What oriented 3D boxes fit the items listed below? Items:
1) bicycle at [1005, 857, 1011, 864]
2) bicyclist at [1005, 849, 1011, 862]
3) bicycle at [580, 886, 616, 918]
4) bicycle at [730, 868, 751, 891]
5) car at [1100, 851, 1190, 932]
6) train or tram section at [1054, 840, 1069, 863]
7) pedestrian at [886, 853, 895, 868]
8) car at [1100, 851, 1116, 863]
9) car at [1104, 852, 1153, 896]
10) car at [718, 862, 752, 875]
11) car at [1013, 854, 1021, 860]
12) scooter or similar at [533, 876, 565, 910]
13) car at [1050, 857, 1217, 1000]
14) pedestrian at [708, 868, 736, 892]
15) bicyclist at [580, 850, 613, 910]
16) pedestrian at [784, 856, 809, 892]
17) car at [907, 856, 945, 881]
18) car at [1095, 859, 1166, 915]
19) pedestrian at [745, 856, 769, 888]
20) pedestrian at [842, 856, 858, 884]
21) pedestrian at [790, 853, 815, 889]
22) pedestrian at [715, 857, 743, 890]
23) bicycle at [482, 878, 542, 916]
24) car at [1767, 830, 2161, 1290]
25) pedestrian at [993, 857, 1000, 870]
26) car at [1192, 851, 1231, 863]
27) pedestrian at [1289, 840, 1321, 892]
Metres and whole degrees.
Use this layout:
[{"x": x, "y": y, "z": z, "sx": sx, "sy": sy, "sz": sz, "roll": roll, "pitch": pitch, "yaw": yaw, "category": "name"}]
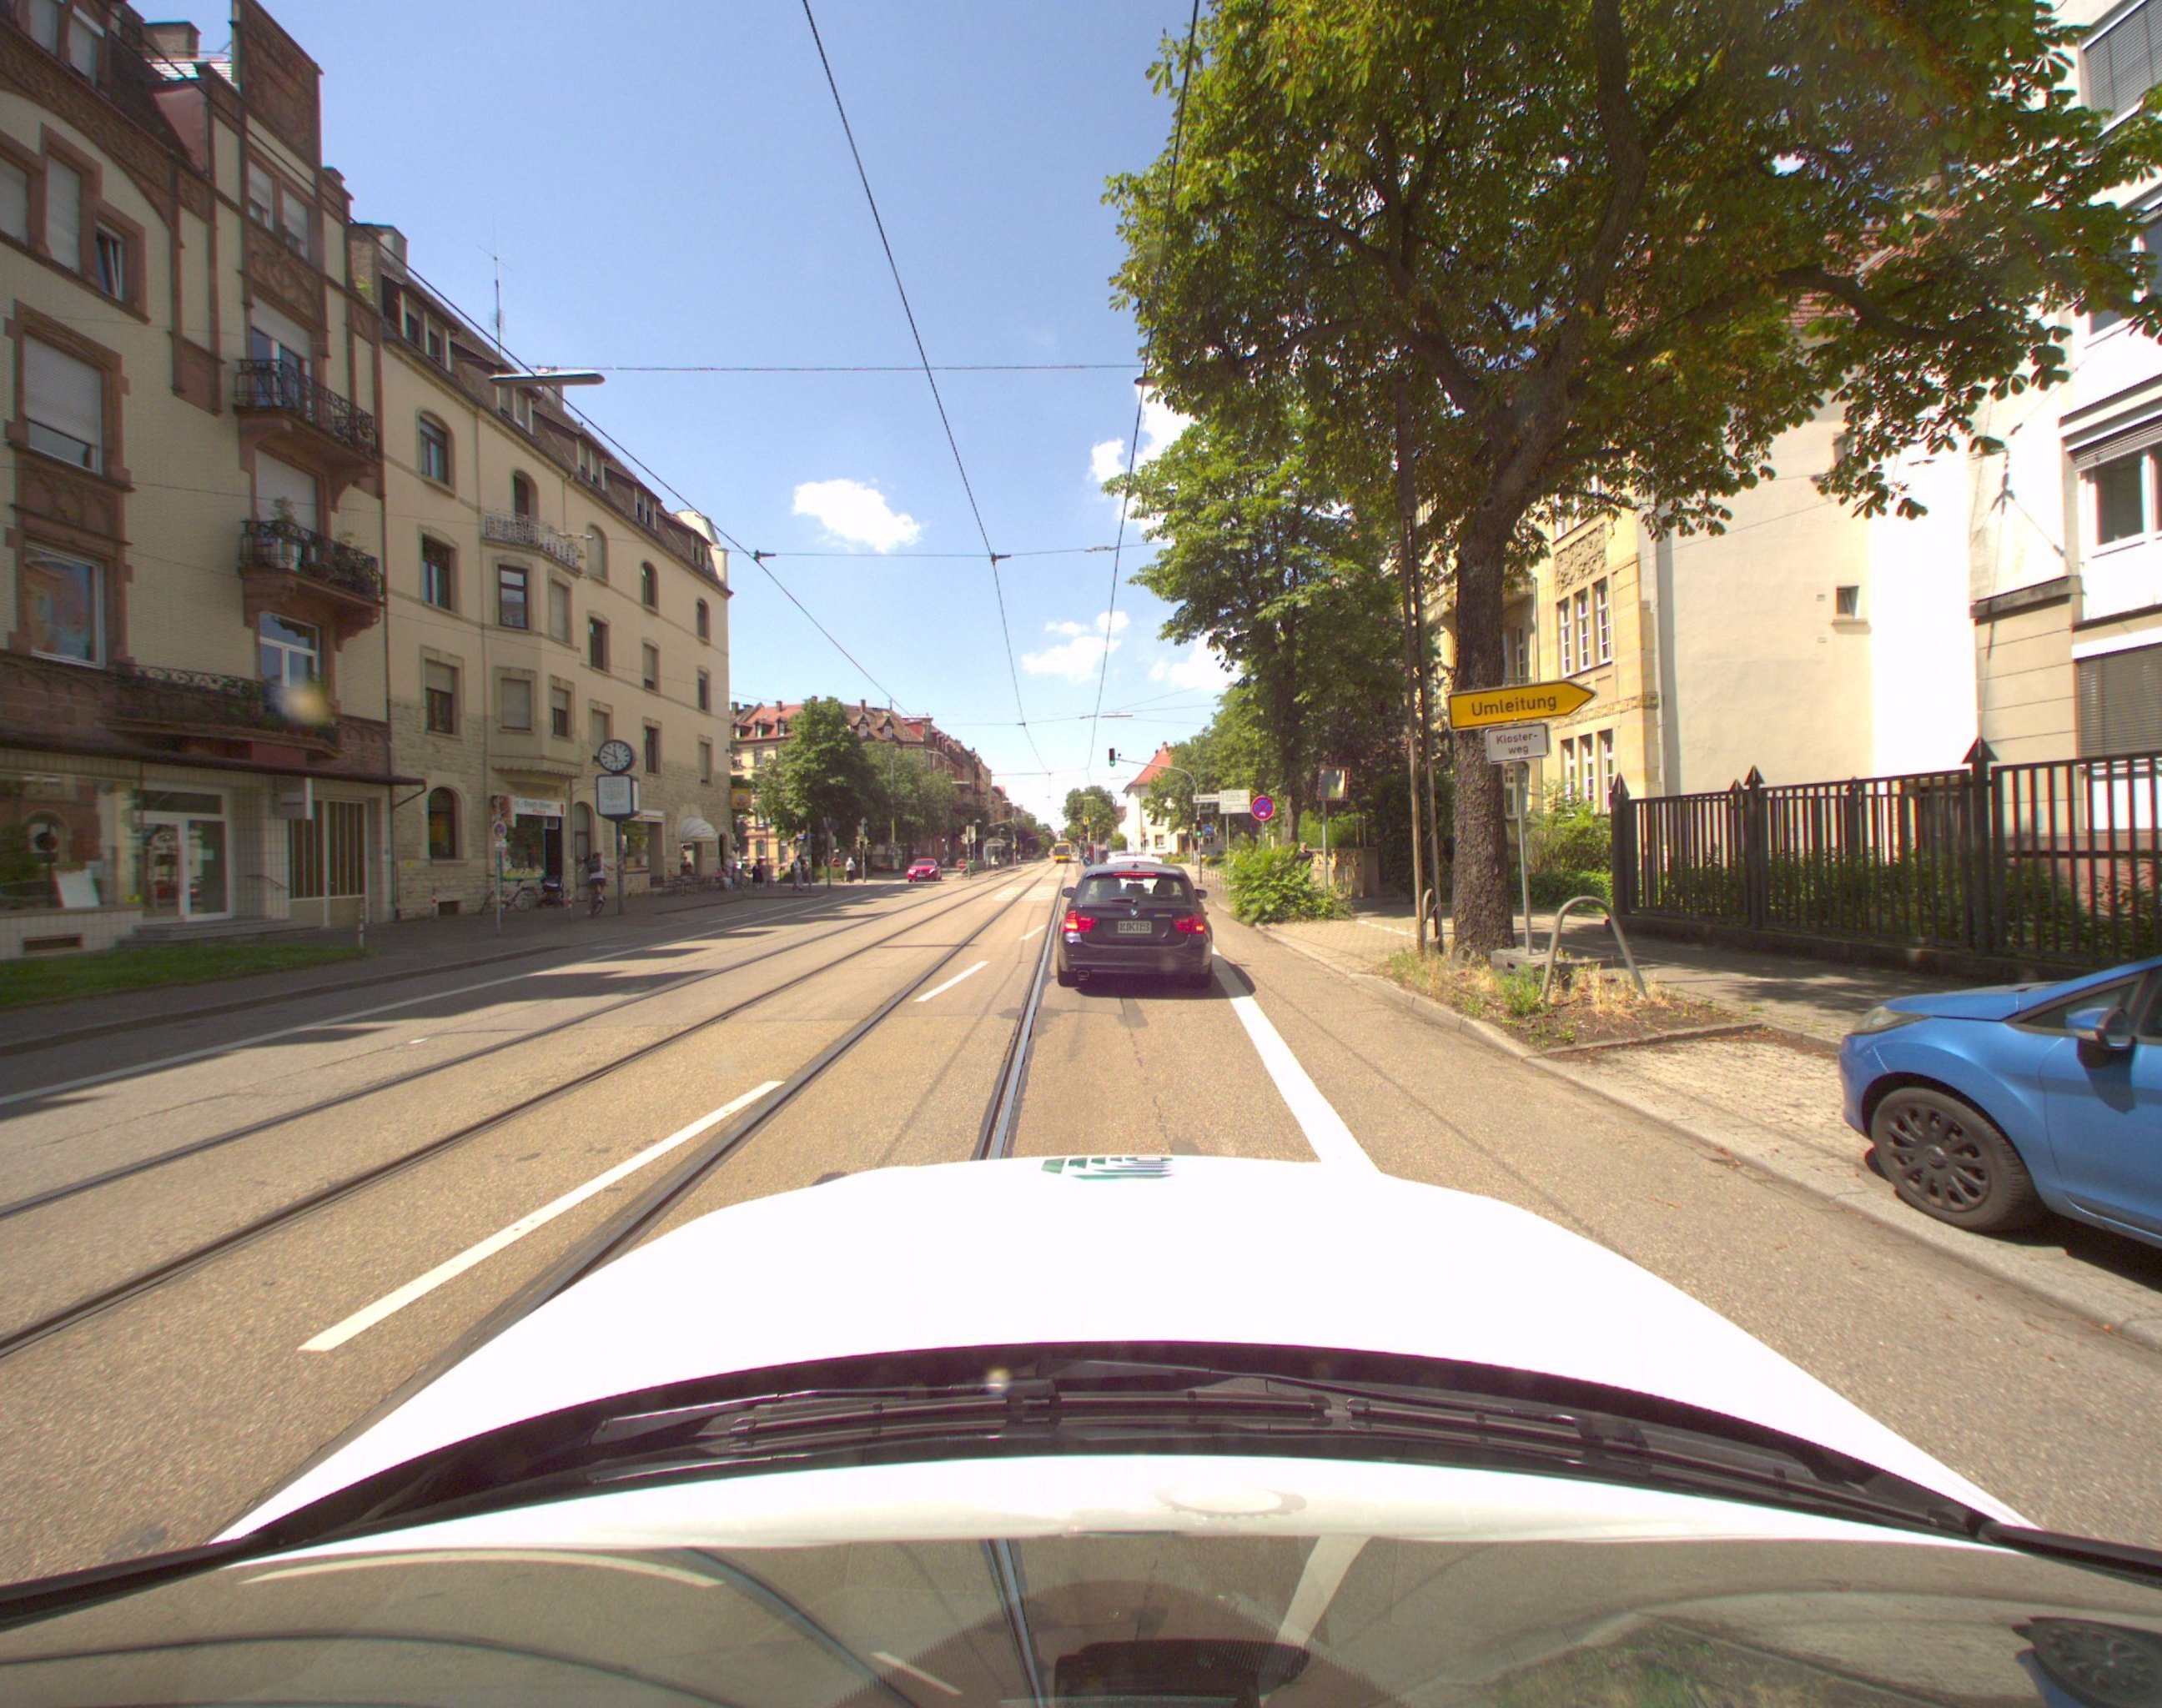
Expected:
[{"x": -10.618, "y": 0.946, "z": 118.795, "sx": 0.727, "sy": 1.101, "sz": 1.714, "roll": -2, "pitch": 0, "yaw": -2, "category": "bicycle"}, {"x": -10.643, "y": 0.185, "z": 118.667, "sx": 0.721, "sy": 1.870, "sz": 0.824, "roll": -2, "pitch": 0, "yaw": -5, "category": "bicyclist"}, {"x": -13.724, "y": 1.345, "z": 23.181, "sx": 0.756, "sy": 0.817, "sz": 1.804, "roll": -2, "pitch": 0, "yaw": -27, "category": "bicycle"}, {"x": -17.776, "y": 1.339, "z": 42.481, "sx": 0.547, "sy": 1.128, "sz": 1.663, "roll": -1, "pitch": -2, "yaw": -38, "category": "bicycle"}, {"x": 1.270, "y": 0.705, "z": 17.346, "sx": 1.679, "sy": 1.484, "sz": 3.685, "roll": -2, "pitch": 0, "yaw": 1, "category": "car"}, {"x": -3.074, "y": -0.373, "z": 127.765, "sx": 2.184, "sy": 3.482, "sz": 8.841, "roll": -2, "pitch": 0, "yaw": -1, "category": "train or tram section"}, {"x": -23.112, "y": 0.768, "z": 98.777, "sx": 0.744, "sy": 1.811, "sz": 0.633, "roll": -2, "pitch": 0, "yaw": -38, "category": "pedestrian"}, {"x": 4.107, "y": 0.472, "z": 124.635, "sx": 1.990, "sy": 1.849, "sz": 3.994, "roll": -2, "pitch": 0, "yaw": -4, "category": "car"}, {"x": 1.762, "y": 0.689, "z": 29.916, "sx": 1.684, "sy": 1.514, "sz": 3.825, "roll": 0, "pitch": 0, "yaw": 4, "category": "car"}, {"x": -40.042, "y": 1.681, "z": 94.288, "sx": 3.428, "sy": 1.471, "sz": 1.694, "roll": -2, "pitch": 0, "yaw": 24, "category": "car"}, {"x": -15.590, "y": 0.785, "z": 198.866, "sx": 1.787, "sy": 1.586, "sz": 3.987, "roll": 0, "pitch": 0, "yaw": -9, "category": "car"}, {"x": -17.060, "y": 1.239, "z": 26.121, "sx": 0.700, "sy": 1.044, "sz": 1.195, "roll": 0, "pitch": -1, "yaw": -41, "category": "scooter or similar"}, {"x": 0.722, "y": 0.779, "z": 10.705, "sx": 1.714, "sy": 1.409, "sz": 4.570, "roll": 1, "pitch": 0, "yaw": 4, "category": "car"}, {"x": -17.144, "y": 1.223, "z": 38.946, "sx": 0.913, "sy": 1.077, "sz": 0.883, "roll": -2, "pitch": 0, "yaw": 0, "category": "pedestrian"}, {"x": -13.756, "y": 0.724, "z": 23.130, "sx": 0.760, "sy": 1.663, "sz": 0.823, "roll": 0, "pitch": -1, "yaw": -29, "category": "bicyclist"}, {"x": -14.022, "y": 0.961, "z": 40.139, "sx": 0.853, "sy": 1.732, "sz": 0.779, "roll": 0, "pitch": 0, "yaw": 19, "category": "pedestrian"}, {"x": -9.841, "y": 0.921, "z": 51.992, "sx": 1.820, "sy": 1.413, "sz": 4.421, "roll": -3, "pitch": 0, "yaw": -5, "category": "car"}, {"x": 1.257, "y": 0.844, "z": 22.177, "sx": 1.686, "sy": 1.323, "sz": 3.821, "roll": -1, "pitch": 0, "yaw": 0, "category": "car"}, {"x": -17.176, "y": 0.947, "z": 43.190, "sx": 0.868, "sy": 1.635, "sz": 1.014, "roll": -1, "pitch": 0, "yaw": -42, "category": "pedestrian"}, {"x": -14.894, "y": 1.012, "z": 52.479, "sx": 0.919, "sy": 1.723, "sz": 0.835, "roll": -2, "pitch": 0, "yaw": -18, "category": "pedestrian"}, {"x": -15.018, "y": 0.916, "z": 43.945, "sx": 0.898, "sy": 1.891, "sz": 1.164, "roll": -2, "pitch": 0, "yaw": -2, "category": "pedestrian"}, {"x": -17.598, "y": 0.950, "z": 40.745, "sx": 0.910, "sy": 1.594, "sz": 0.812, "roll": -2, "pitch": 0, "yaw": 13, "category": "pedestrian"}, {"x": -16.831, "y": 1.255, "z": 24.120, "sx": 0.366, "sy": 1.066, "sz": 1.473, "roll": -1, "pitch": -1, "yaw": 23, "category": "bicycle"}, {"x": 4.367, "y": 0.666, "z": 2.262, "sx": 1.673, "sy": 1.443, "sz": 3.718, "roll": -4, "pitch": 0, "yaw": -2, "category": "car"}, {"x": -7.711, "y": 0.864, "z": 74.465, "sx": 0.613, "sy": 1.243, "sz": 0.626, "roll": -1, "pitch": 0, "yaw": -7, "category": "pedestrian"}, {"x": 14.570, "y": 0.323, "z": 90.890, "sx": 3.948, "sy": 1.243, "sz": 1.634, "roll": -2, "pitch": 0, "yaw": 34, "category": "car"}, {"x": 7.282, "y": 0.374, "z": 26.557, "sx": 0.852, "sy": 1.645, "sz": 0.838, "roll": -2, "pitch": 0, "yaw": 8, "category": "pedestrian"}]
